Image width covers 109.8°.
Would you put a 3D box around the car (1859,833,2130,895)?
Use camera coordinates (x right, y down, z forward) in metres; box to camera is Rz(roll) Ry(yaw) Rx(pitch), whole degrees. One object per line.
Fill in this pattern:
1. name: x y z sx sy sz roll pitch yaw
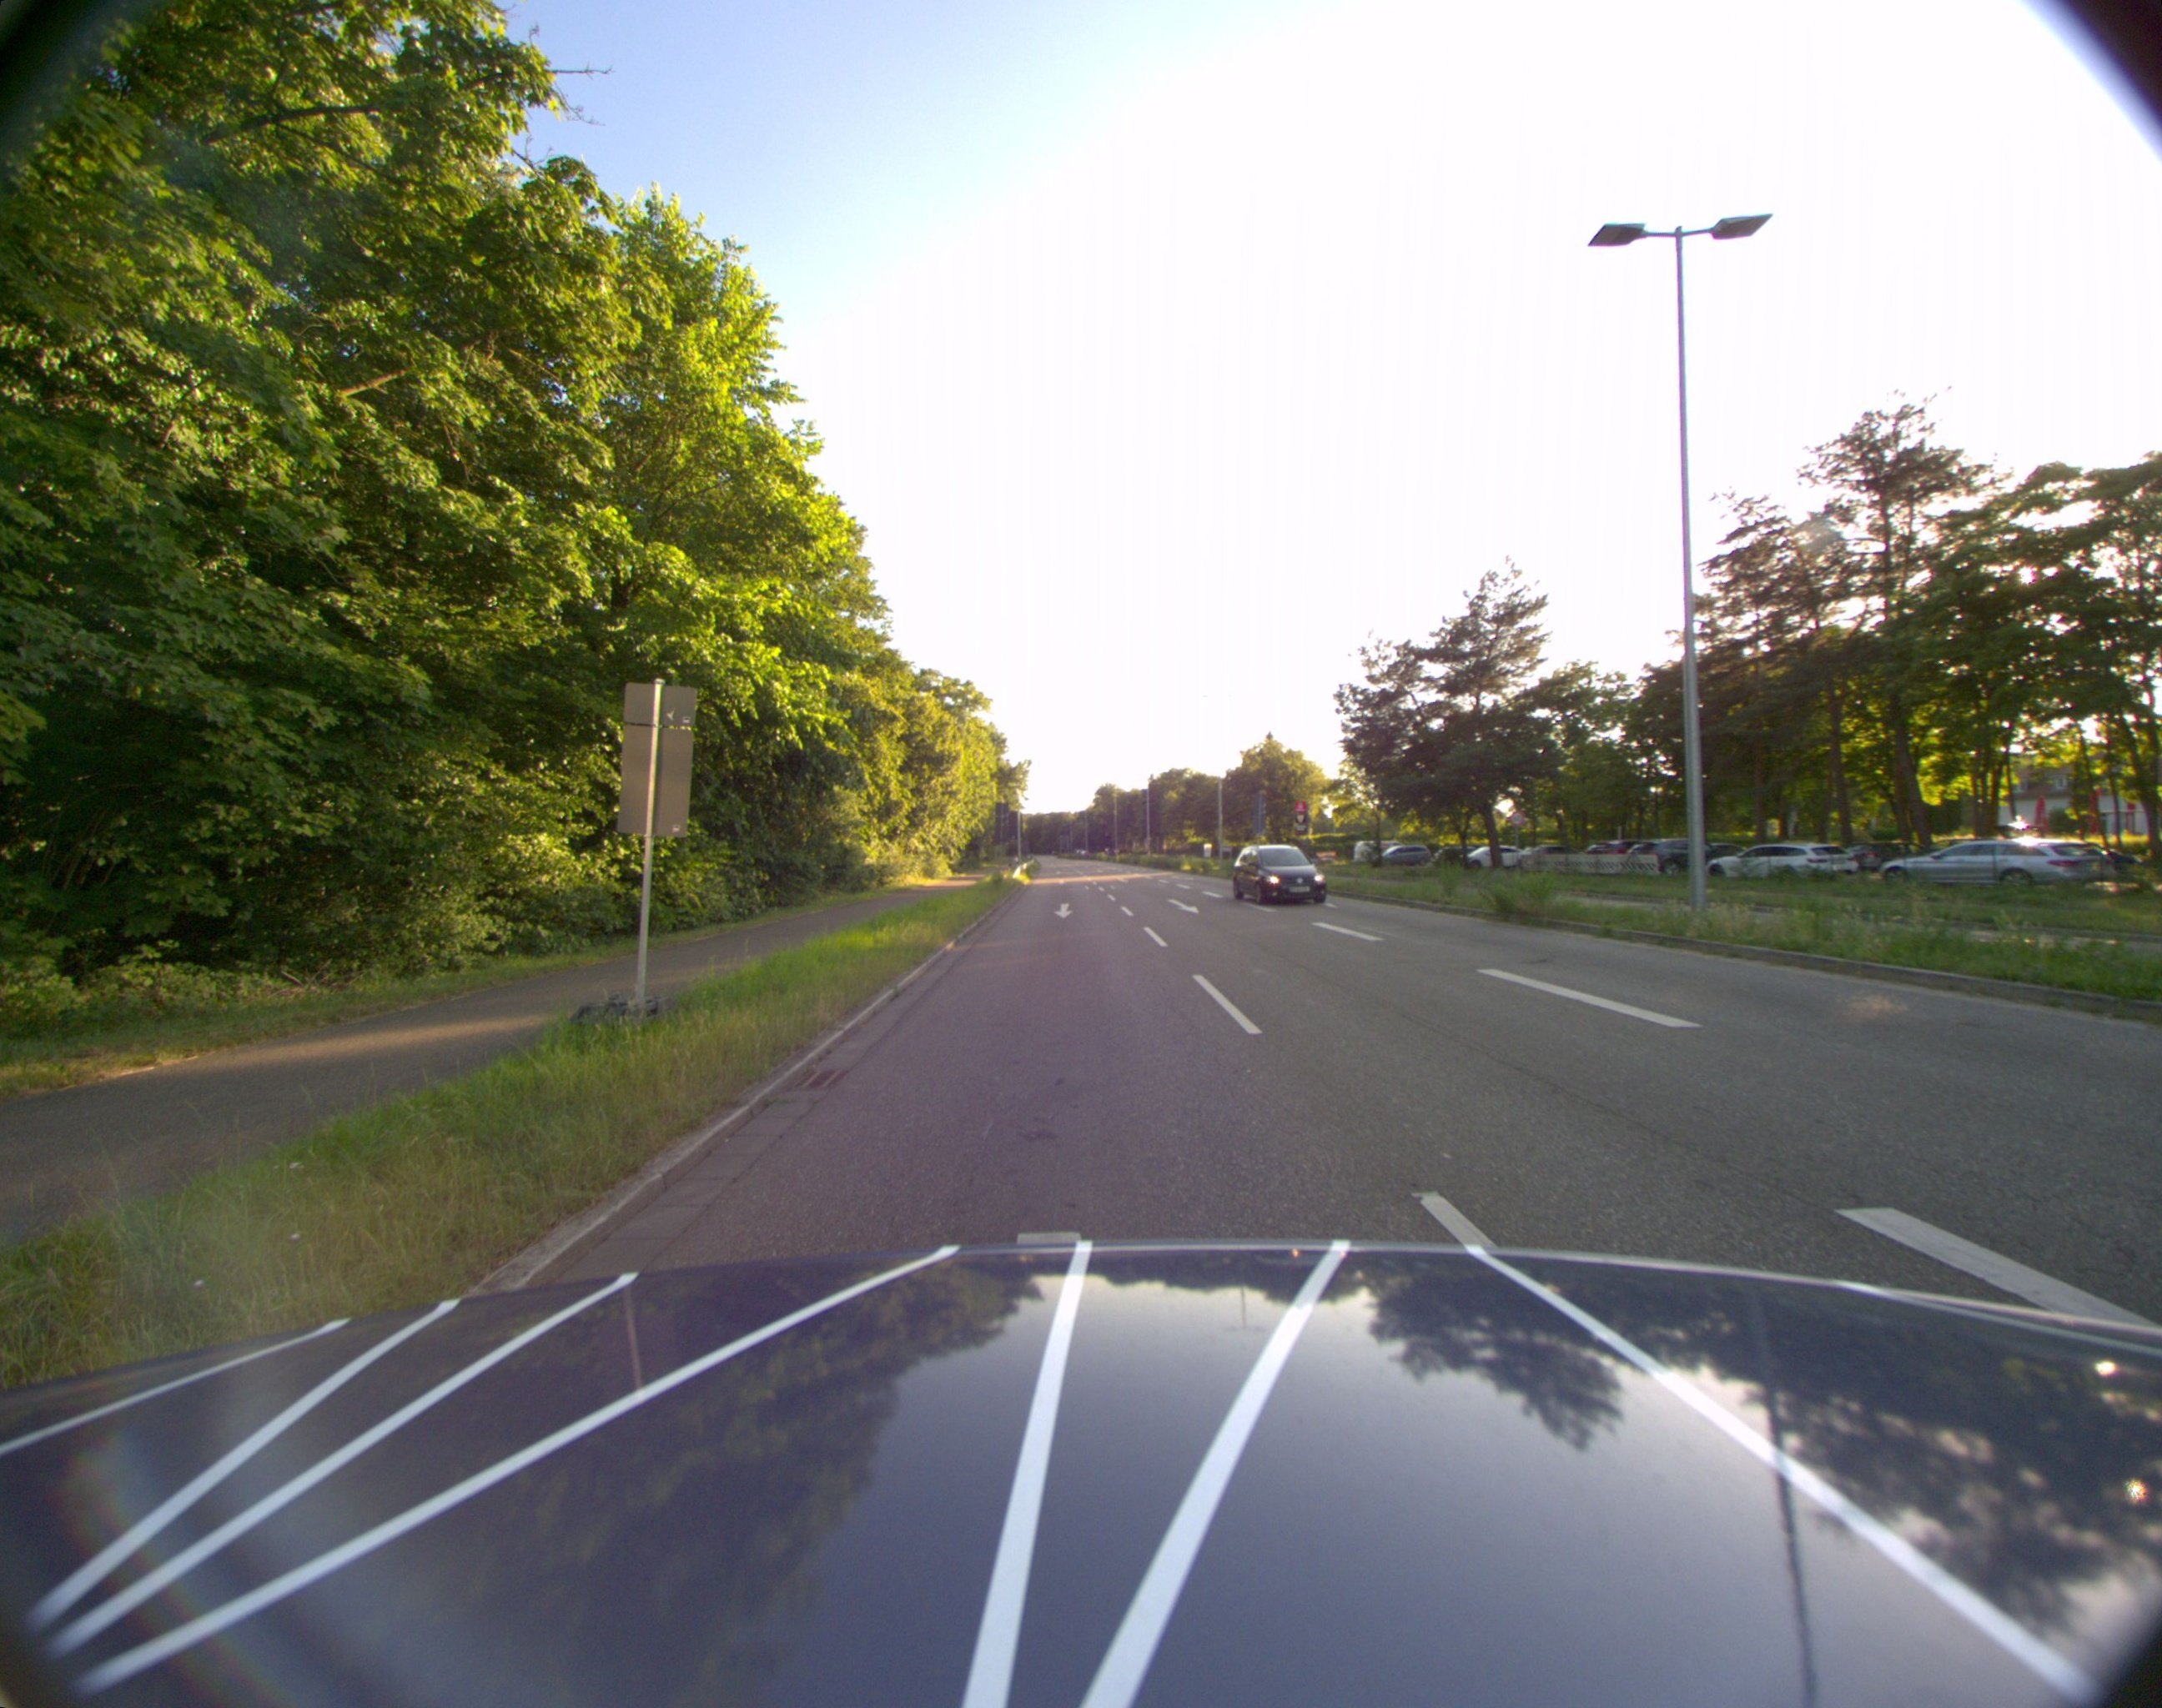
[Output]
1. car: 26.775 0.246 22.628 1.999 1.597 4.920 -1 0 -4

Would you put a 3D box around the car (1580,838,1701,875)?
1. car: 26.393 0.110 35.950 4.525 1.608 1.771 -1 1 -3

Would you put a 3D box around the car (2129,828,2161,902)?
1. car: 27.107 0.258 16.420 1.999 1.776 4.920 -1 1 -4

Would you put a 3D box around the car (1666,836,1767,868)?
1. car: 34.078 -0.120 40.803 3.997 1.641 1.766 -1 1 -1

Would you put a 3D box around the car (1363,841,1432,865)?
1. car: 24.160 -0.098 58.030 4.498 1.787 1.909 -1 1 -2

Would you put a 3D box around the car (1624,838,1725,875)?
1. car: 25.580 0.100 32.794 3.099 1.518 1.659 -1 1 -2

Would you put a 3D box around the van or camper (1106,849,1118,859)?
1. van or camper: 6.607 -0.056 162.076 1.999 2.002 4.576 -1 0 -5

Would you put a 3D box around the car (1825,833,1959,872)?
1. car: 35.419 -0.073 33.248 3.997 1.641 1.766 -1 1 -1

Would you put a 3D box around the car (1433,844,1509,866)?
1. car: 24.952 0.062 48.657 3.997 1.304 1.732 -1 1 -1

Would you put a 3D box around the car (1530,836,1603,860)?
1. car: 34.118 -0.400 53.484 3.997 1.641 1.766 -1 1 -1

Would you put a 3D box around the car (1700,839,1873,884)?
1. car: 26.419 0.257 28.736 1.999 1.539 4.708 -1 0 -4

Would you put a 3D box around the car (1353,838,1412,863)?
1. car: 24.206 -0.251 61.069 3.998 1.933 1.766 -1 1 -2

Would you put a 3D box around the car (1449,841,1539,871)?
1. car: 25.167 0.130 46.406 4.497 1.743 1.909 -1 1 -1

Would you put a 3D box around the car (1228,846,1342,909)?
1. car: 5.502 0.568 21.060 1.999 1.543 3.999 -1 0 -1

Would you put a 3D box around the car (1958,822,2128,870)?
1. car: 34.980 -0.287 27.692 3.997 1.641 1.766 -1 1 -1

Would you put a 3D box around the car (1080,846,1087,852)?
1. car: 0.622 -1.336 212.229 1.760 1.532 3.998 -3 1 -2
